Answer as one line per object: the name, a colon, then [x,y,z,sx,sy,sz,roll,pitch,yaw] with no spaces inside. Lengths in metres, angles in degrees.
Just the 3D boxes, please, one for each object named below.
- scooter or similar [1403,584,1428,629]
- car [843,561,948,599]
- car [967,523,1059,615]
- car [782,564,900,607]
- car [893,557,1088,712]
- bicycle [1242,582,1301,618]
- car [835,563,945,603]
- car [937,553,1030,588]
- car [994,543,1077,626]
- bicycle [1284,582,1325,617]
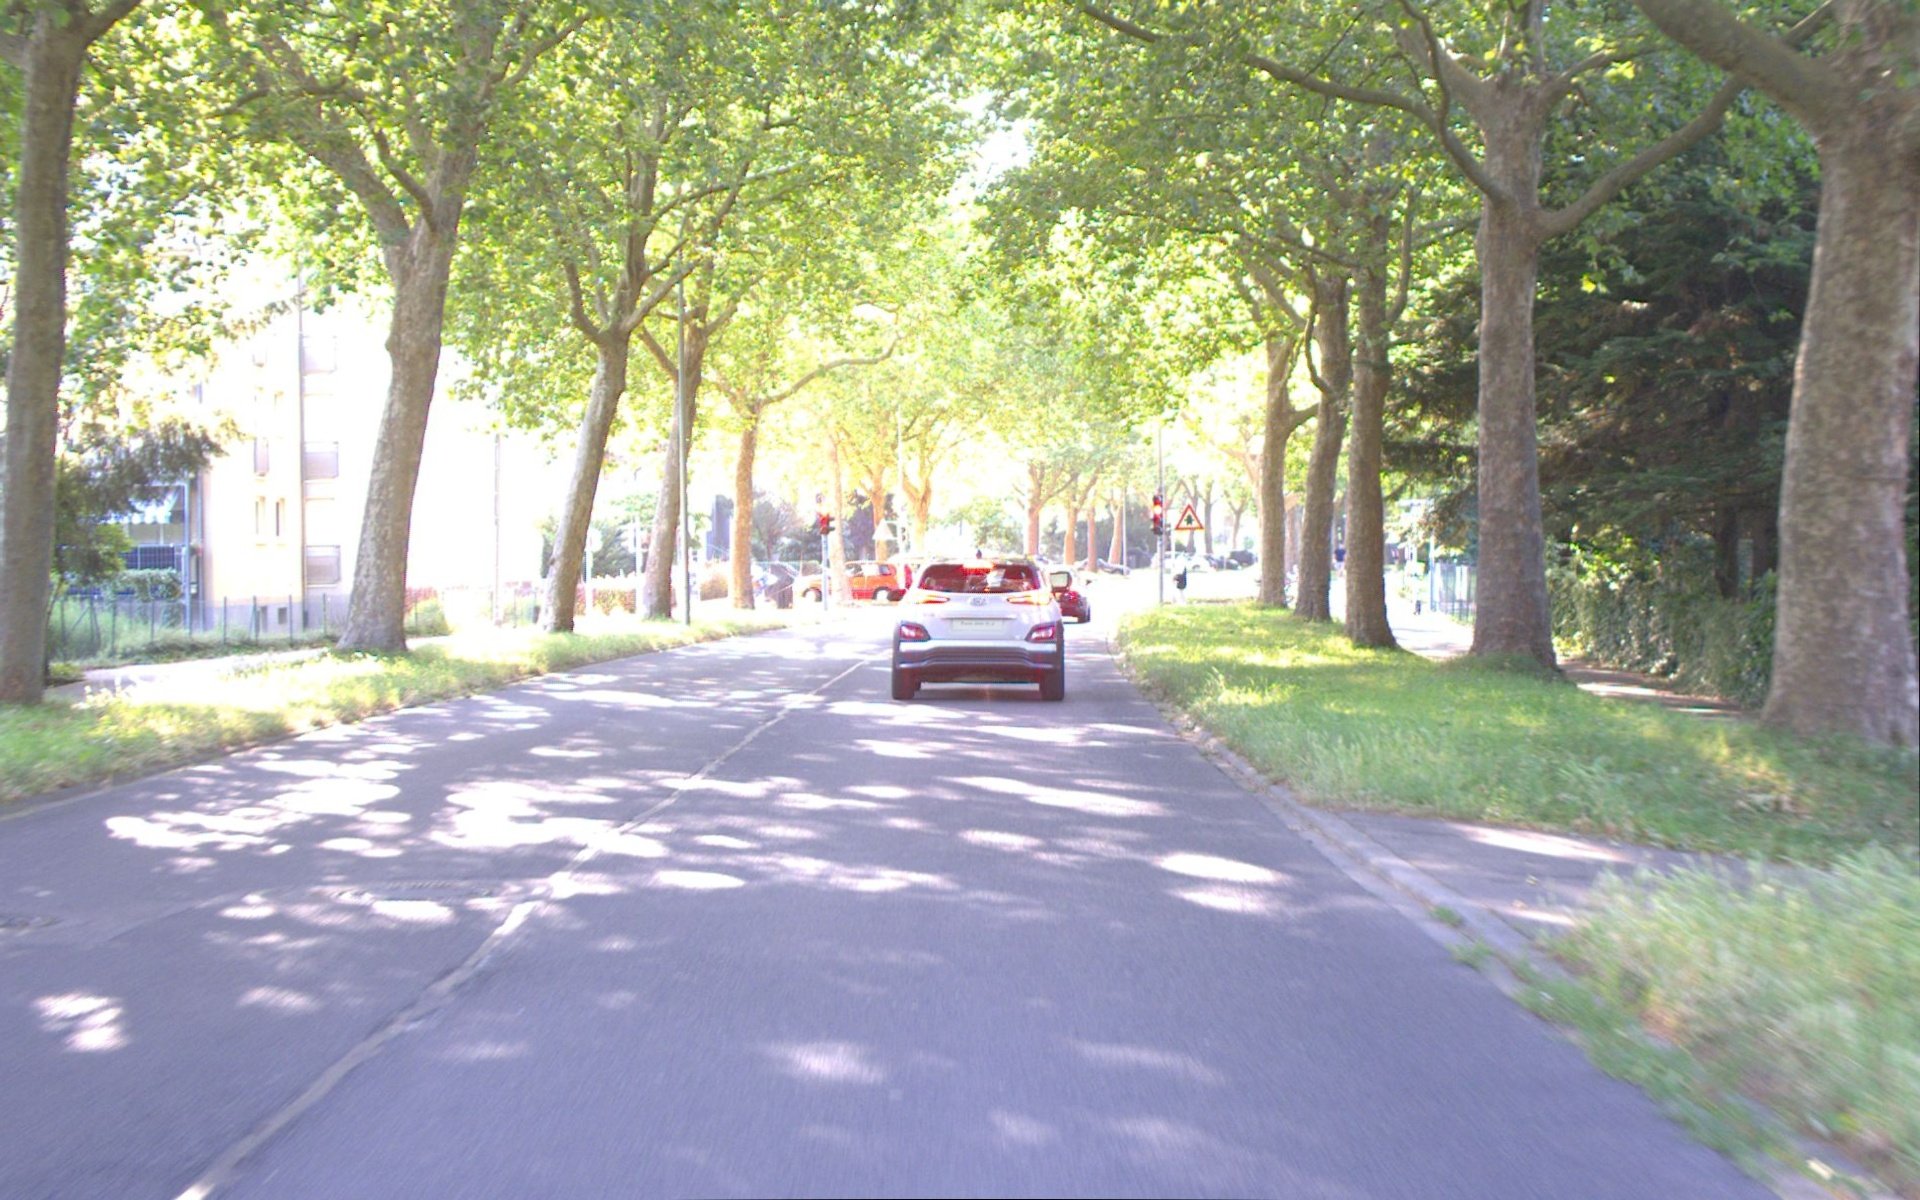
scooter or similar: [12.710,0.178,96.027,0.549,1.254,2.313,1,0,4]
car: [-2.559,-0.792,136.354,3.987,1.473,2.000,1,0,4]
car: [1.209,-0.681,77.005,1.993,2.007,4.000,1,0,2]
car: [-4.190,-0.505,121.850,3.987,1.473,2.000,1,0,4]
car: [0.371,0.347,37.341,1.993,1.569,4.000,1,0,2]
bicycle: [10.333,-0.005,114.186,0.603,1.160,2.149,1,0,-40]
car: [-2.664,-0.650,131.717,3.988,1.473,1.999,1,0,7]
car: [1.040,-1.284,150.910,3.987,1.473,2.000,1,0,4]
car: [1.874,-0.384,85.514,1.993,2.007,4.000,1,0,1]
bicycle: [11.526,-0.024,115.070,0.603,1.179,2.119,1,0,-16]
